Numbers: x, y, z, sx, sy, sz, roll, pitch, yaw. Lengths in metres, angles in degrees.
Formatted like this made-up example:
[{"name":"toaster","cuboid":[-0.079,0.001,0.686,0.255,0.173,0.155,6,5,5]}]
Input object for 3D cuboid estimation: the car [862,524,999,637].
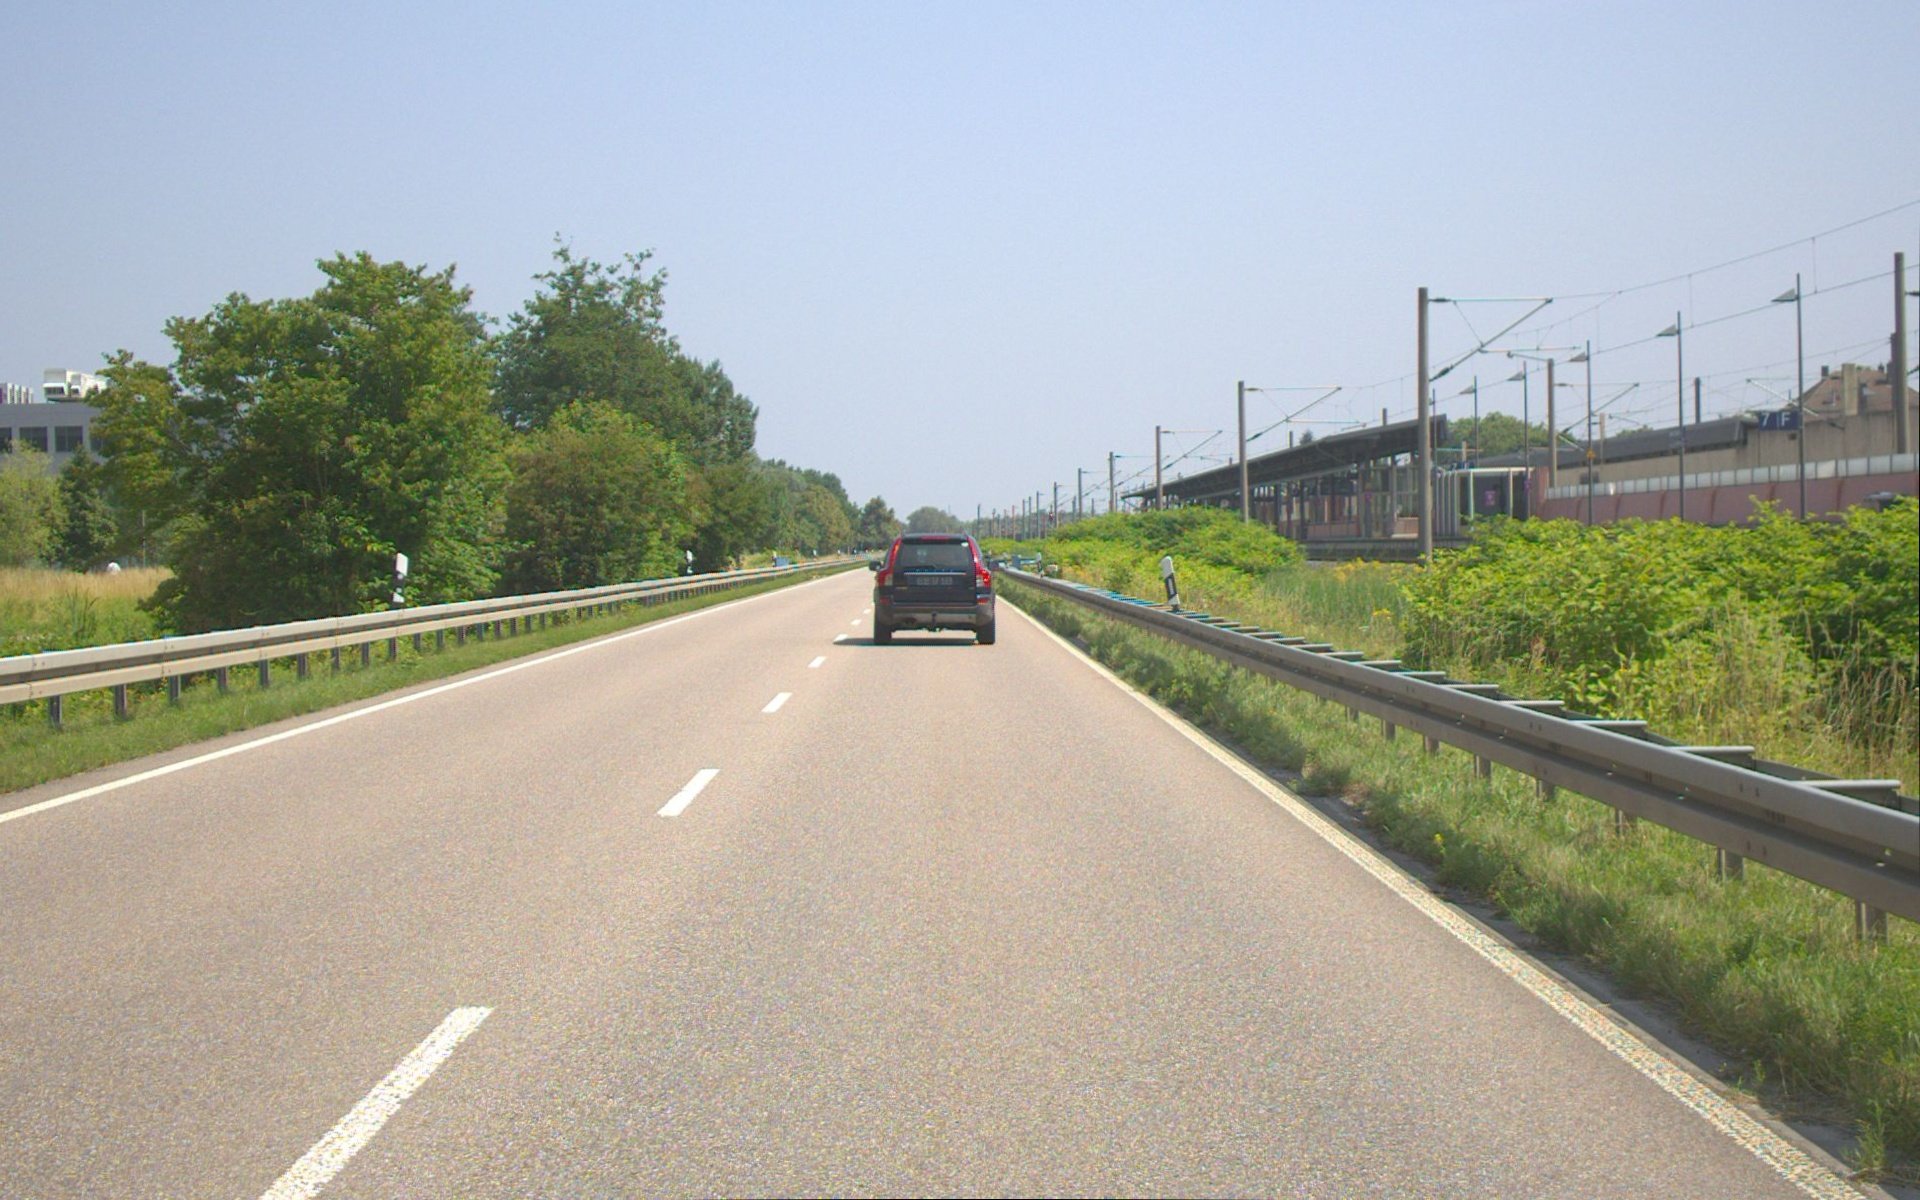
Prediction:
[{"name":"car","cuboid":[-0.496,-0.332,54.128,1.993,1.694,4.001,0,1,-3]}]
